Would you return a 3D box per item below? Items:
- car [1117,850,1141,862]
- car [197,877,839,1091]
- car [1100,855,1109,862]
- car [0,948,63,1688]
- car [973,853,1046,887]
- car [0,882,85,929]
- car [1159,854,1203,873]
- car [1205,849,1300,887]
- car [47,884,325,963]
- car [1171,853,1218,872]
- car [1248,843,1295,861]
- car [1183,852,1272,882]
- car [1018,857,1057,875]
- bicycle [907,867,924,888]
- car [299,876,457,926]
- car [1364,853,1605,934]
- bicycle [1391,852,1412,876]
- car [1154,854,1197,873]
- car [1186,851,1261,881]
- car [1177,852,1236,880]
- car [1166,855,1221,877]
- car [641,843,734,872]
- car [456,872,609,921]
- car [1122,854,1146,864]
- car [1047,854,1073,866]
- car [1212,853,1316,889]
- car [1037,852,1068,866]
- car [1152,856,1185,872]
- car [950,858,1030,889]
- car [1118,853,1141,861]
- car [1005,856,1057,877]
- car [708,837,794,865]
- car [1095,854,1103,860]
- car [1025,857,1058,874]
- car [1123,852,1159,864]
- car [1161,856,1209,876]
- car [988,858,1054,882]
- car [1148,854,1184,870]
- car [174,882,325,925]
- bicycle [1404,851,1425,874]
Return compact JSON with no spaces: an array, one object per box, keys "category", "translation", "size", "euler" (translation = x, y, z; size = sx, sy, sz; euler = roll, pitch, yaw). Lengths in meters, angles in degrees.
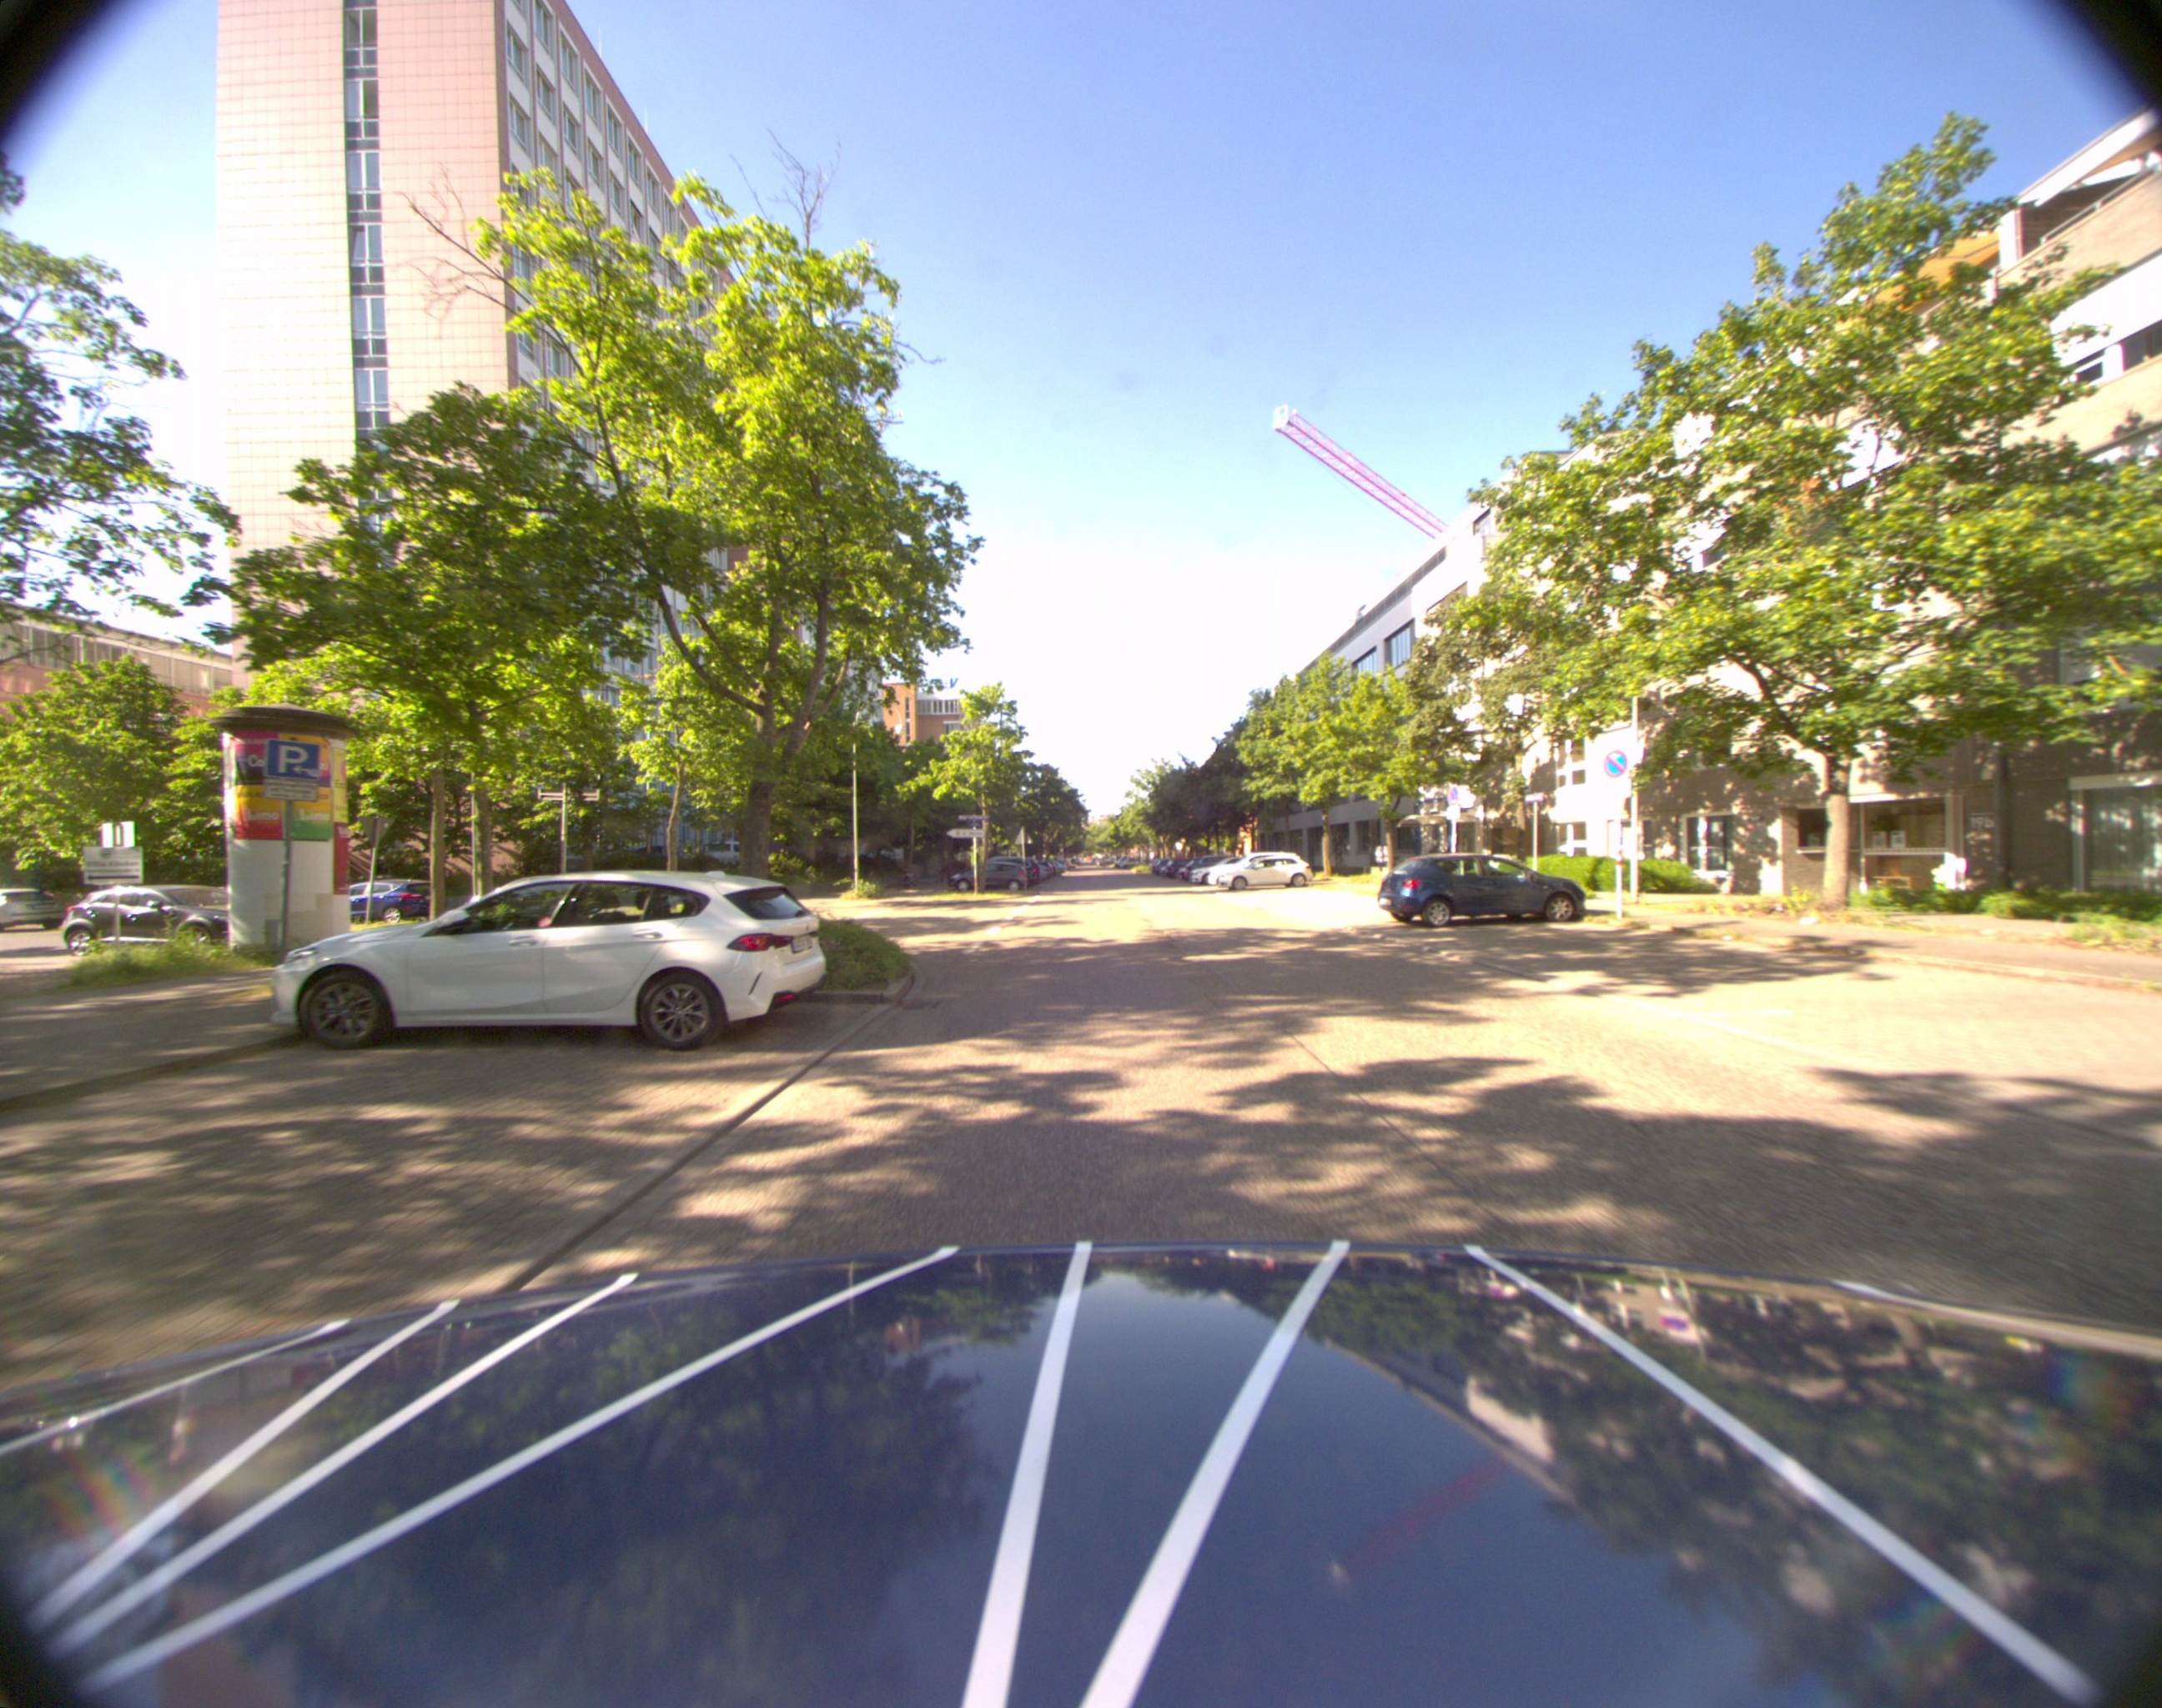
[{"category":"car","translation":[8.605,0.341,135.804],"size":[3.997,2.094,2.000],"euler":[-2,1,-1]},{"category":"car","translation":[-4.716,1.064,6.913],"size":[4.438,1.583,1.836],"euler":[1,0,-1]},{"category":"car","translation":[5.109,0.910,163.675],"size":[1.766,1.365,4.001],"euler":[-1,0,3]},{"category":"car","translation":[-4.494,1.055,0.719],"size":[4.454,1.536,1.817],"euler":[-2,1,-1]},{"category":"car","translation":[-3.836,0.863,41.191],"size":[3.680,1.741,1.724],"euler":[-1,1,3]},{"category":"car","translation":[-37.772,1.821,26.502],"size":[3.768,1.485,1.711],"euler":[-2,1,1]},{"category":"car","translation":[8.549,0.821,65.056],"size":[3.527,1.520,1.657],"euler":[-2,1,-1]},{"category":"car","translation":[8.448,0.669,37.673],"size":[4.235,1.593,1.953],"euler":[-3,1,1]},{"category":"car","translation":[-19.957,1.511,17.092],"size":[3.997,1.521,1.835],"euler":[-1,0,-1]},{"category":"car","translation":[9.377,0.719,62.799],"size":[3.539,1.437,1.657],"euler":[-2,1,-3]},{"category":"car","translation":[23.749,-0.262,94.676],"size":[5.328,2.086,1.932],"euler":[-2,1,-2]},{"category":"car","translation":[8.192,0.714,42.636],"size":[4.521,1.443,1.940],"euler":[-3,0,-4]},{"category":"car","translation":[-3.801,1.040,66.793],"size":[3.203,1.471,1.589],"euler":[0,1,4]},{"category":"bicycle","translation":[-8.507,1.191,39.112],"size":[0.302,0.987,1.957],"euler":[-2,0,5]},{"category":"car","translation":[-24.185,1.598,26.221],"size":[3.854,1.460,1.650],"euler":[-2,1,0]},{"category":"car","translation":[8.203,0.763,15.669],"size":[3.998,1.403,1.816],"euler":[-2,1,-3]},{"category":"bicycle","translation":[16.192,0.491,38.420],"size":[0.338,1.168,1.627],"euler":[-2,1,1]},{"category":"car","translation":[8.355,0.827,67.563],"size":[3.539,1.497,1.646],"euler":[-2,1,-1]},{"category":"car","translation":[8.505,0.701,45.639],"size":[4.122,1.611,1.803],"euler":[-2,0,2]},{"category":"car","translation":[8.222,0.766,50.061],"size":[3.580,1.658,1.655],"euler":[-3,0,3]},{"category":"car","translation":[8.433,0.893,57.137],"size":[3.832,1.405,1.688],"euler":[-3,-1,-1]},{"category":"car","translation":[-21.924,0.171,42.494],"size":[4.237,1.498,1.723],"euler":[-1,0,-5]},{"category":"car","translation":[-19.101,1.461,26.576],"size":[3.997,1.439,1.769],"euler":[-2,1,1]},{"category":"car","translation":[9.010,0.827,128.523],"size":[3.967,1.463,1.953],"euler":[-2,1,2]},{"category":"car","translation":[-3.369,0.945,121.504],"size":[3.998,1.773,1.952],"euler":[-2,1,-4]},{"category":"car","translation":[8.290,0.770,34.593],"size":[4.269,1.471,1.800],"euler":[-2,0,0]},{"category":"car","translation":[-3.886,0.680,103.162],"size":[4.164,1.696,1.999],"euler":[-2,1,-2]},{"category":"car","translation":[8.279,0.936,72.279],"size":[2.933,1.435,1.389],"euler":[-1,1,0]},{"category":"car","translation":[-4.580,0.996,38.512],"size":[3.845,1.438,1.592],"euler":[2,-1,-2]},{"category":"car","translation":[9.019,0.605,141.110],"size":[3.997,1.406,1.594],"euler":[-1,0,-1]},{"category":"car","translation":[-3.913,0.941,59.510],"size":[3.982,1.540,1.683],"euler":[-1,0,-3]},{"category":"car","translation":[-21.554,-0.198,49.745],"size":[4.729,1.676,1.875],"euler":[-1,0,-3]},{"category":"car","translation":[4.563,0.776,195.333],"size":[1.951,1.617,4.001],"euler":[-1,0,3]},{"category":"car","translation":[-3.800,1.121,73.068],"size":[3.053,1.595,1.604],"euler":[0,0,3]},{"category":"car","translation":[9.167,0.555,116.374],"size":[5.252,1.616,1.953],"euler":[-2,1,2]},{"category":"car","translation":[8.233,0.943,60.239],"size":[3.539,1.428,1.657],"euler":[-2,1,-1]},{"category":"car","translation":[-4.170,1.086,53.060],"size":[4.431,1.544,1.859],"euler":[-1,0,-1]},{"category":"car","translation":[9.176,0.851,82.006],"size":[3.630,1.499,1.617],"euler":[-2,1,-1]},{"category":"car","translation":[-29.180,1.726,26.739],"size":[3.501,1.297,1.552],"euler":[-2,1,-1]},{"category":"bicycle","translation":[17.088,0.415,38.973],"size":[0.338,1.168,1.627],"euler":[-2,1,1]}]
